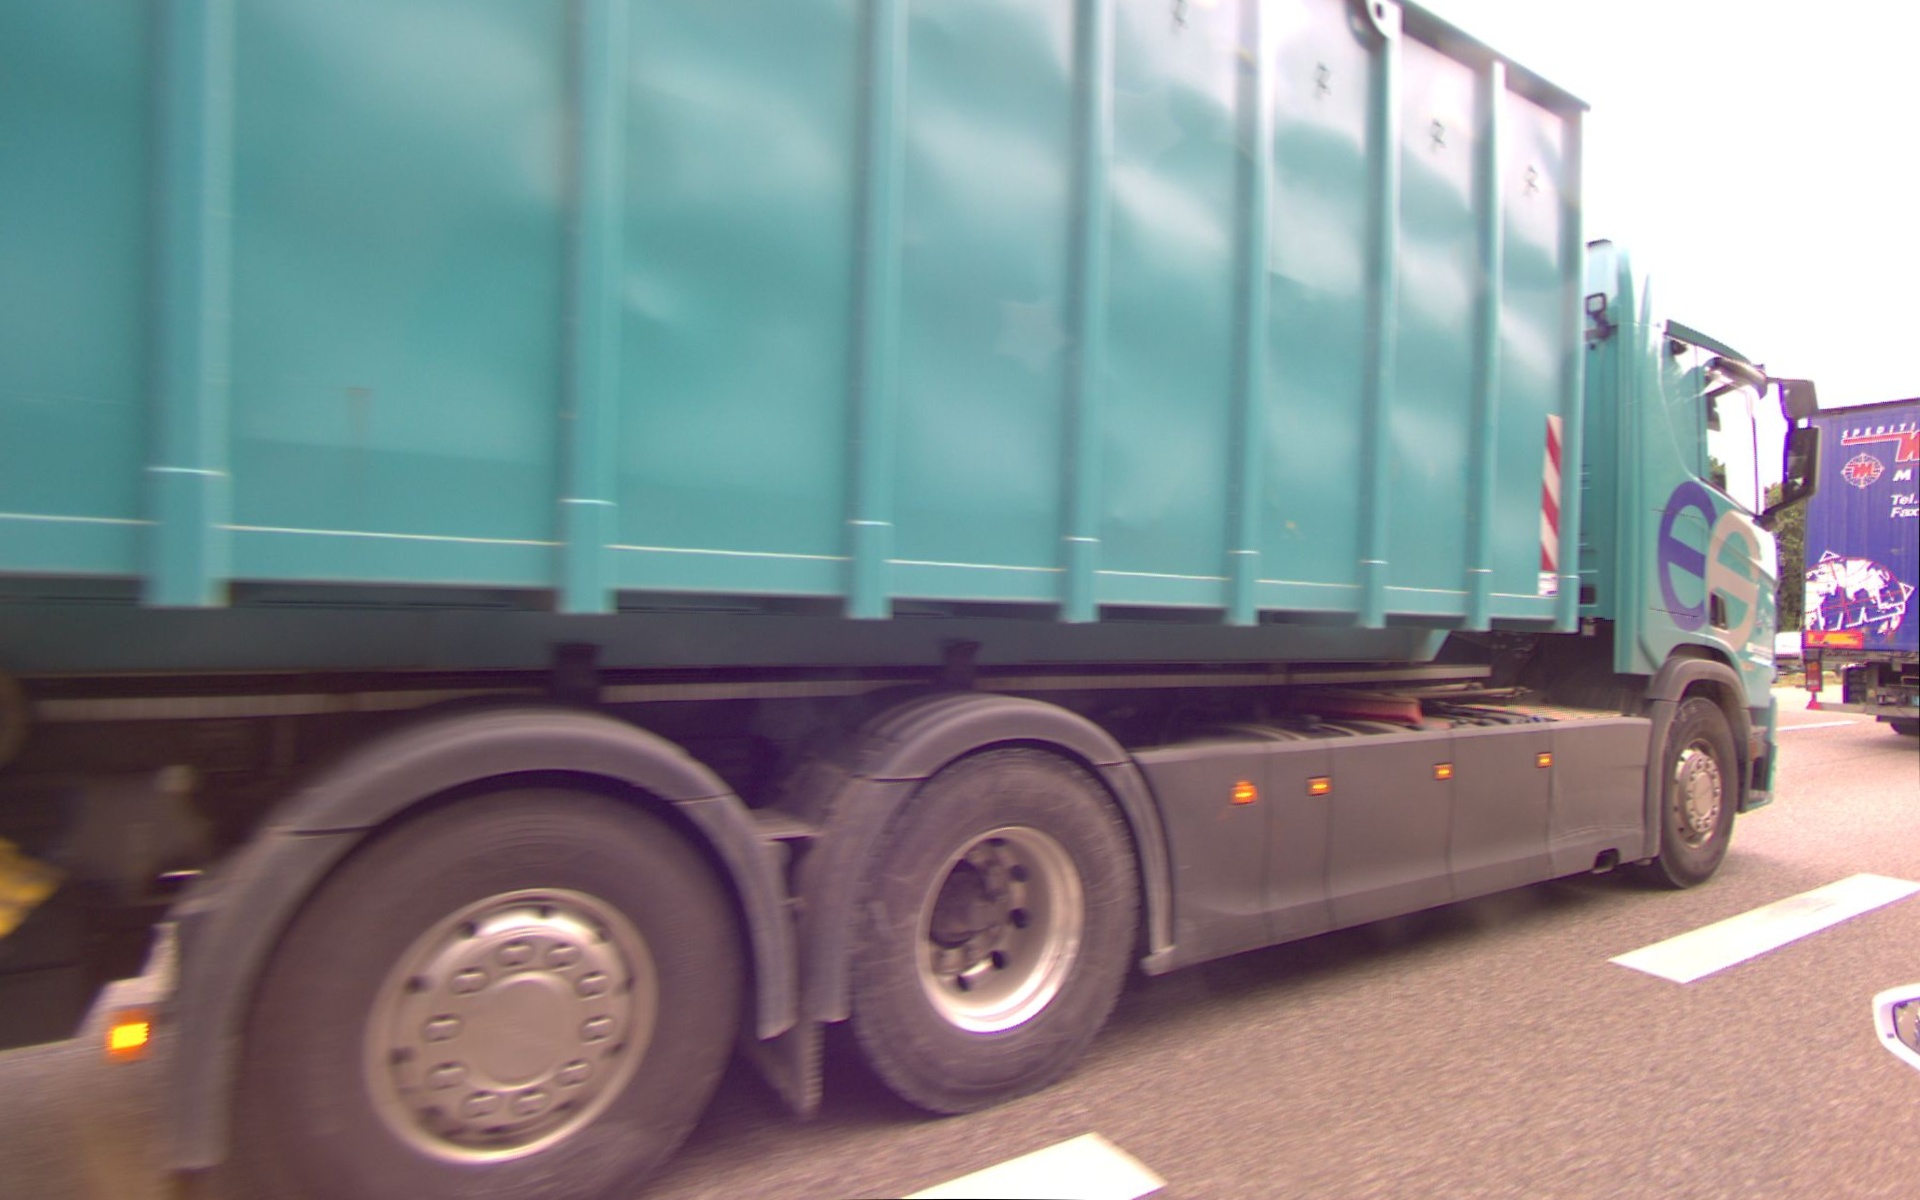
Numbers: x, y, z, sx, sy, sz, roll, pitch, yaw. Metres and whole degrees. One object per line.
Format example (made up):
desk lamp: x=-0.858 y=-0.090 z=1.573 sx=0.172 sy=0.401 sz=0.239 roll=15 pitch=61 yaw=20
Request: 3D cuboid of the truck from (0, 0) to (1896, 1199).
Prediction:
truck: x=1.011 y=-0.438 z=5.153 sx=11.207 sy=3.847 sz=2.913 roll=1 pitch=-1 yaw=-33

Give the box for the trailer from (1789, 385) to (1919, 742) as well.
trailer: x=16.761 y=-0.238 z=14.718 sx=13.305 sy=4.076 sz=2.614 roll=2 pitch=0 yaw=-30

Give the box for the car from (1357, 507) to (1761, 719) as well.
car: x=9.126 y=0.234 z=15.058 sx=6.718 sy=2.612 sz=2.211 roll=2 pitch=0 yaw=-31
